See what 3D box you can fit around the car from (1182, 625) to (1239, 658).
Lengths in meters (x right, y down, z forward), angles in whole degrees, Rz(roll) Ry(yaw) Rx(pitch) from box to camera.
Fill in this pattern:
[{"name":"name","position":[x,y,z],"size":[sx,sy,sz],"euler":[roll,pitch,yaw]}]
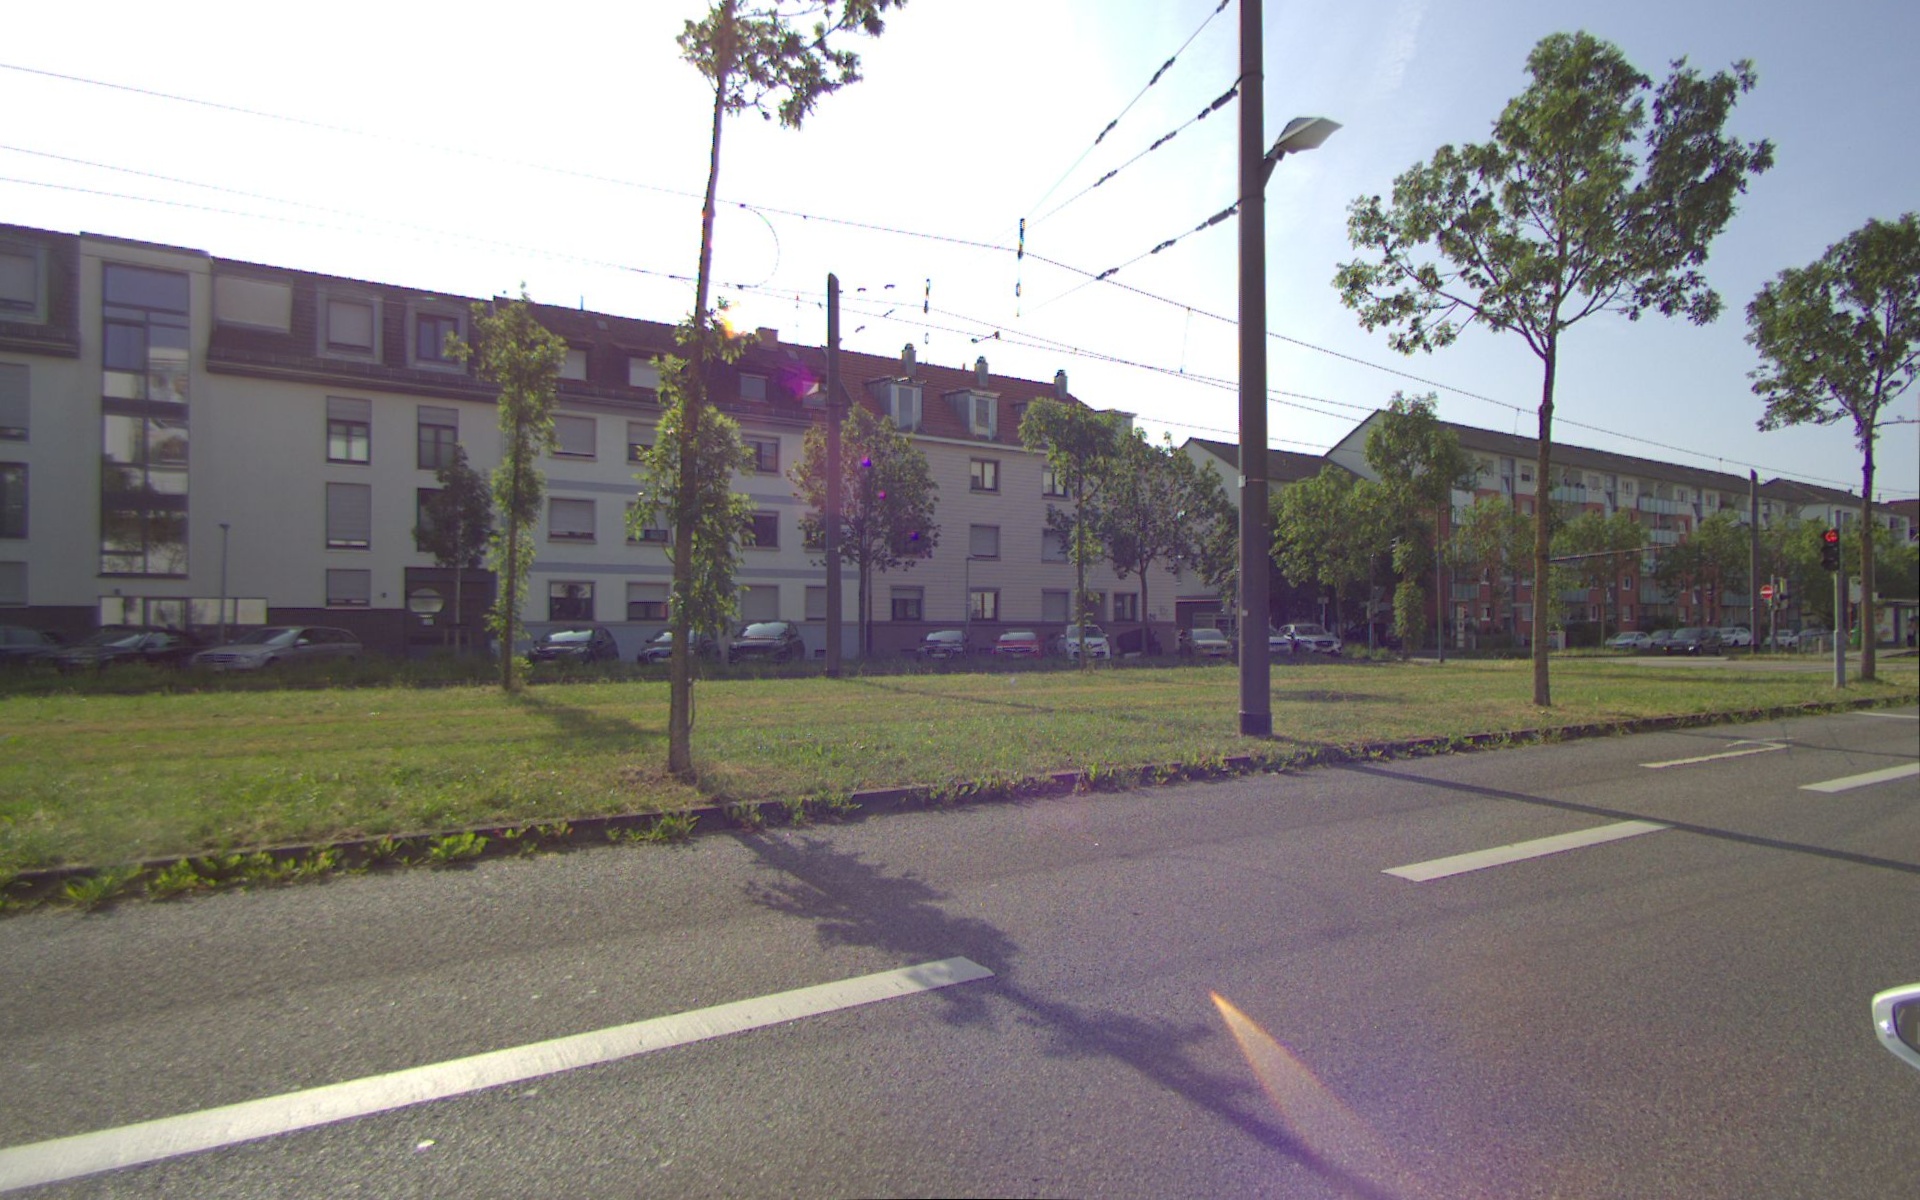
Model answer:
[{"name":"car","position":[10.491,1.698,42.265],"size":[1.959,1.194,4.002],"euler":[1,0,9]}]

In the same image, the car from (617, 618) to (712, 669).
[{"name":"car","position":[-8.627,1.241,29.689],"size":[1.962,1.305,3.996],"euler":[1,0,-6]}]

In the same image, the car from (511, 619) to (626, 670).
[{"name":"car","position":[-10.794,1.206,28.019],"size":[1.962,1.305,3.997],"euler":[1,-1,-6]}]

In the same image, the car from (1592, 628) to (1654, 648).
[{"name":"car","position":[42.725,2.424,64.710],"size":[4.120,1.163,1.823],"euler":[1,0,-33]}]

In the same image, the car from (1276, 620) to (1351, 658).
[{"name":"car","position":[15.804,1.708,45.113],"size":[1.924,1.483,4.354],"euler":[1,0,2]}]

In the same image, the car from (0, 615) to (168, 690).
[{"name":"car","position":[-19.773,1.085,21.988],"size":[1.890,1.394,3.997],"euler":[1,0,-4]}]

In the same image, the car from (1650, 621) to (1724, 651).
[{"name":"car","position":[43.607,2.143,60.198],"size":[4.659,1.728,1.983],"euler":[1,-1,-31]}]

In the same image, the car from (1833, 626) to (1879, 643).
[{"name":"car","position":[76.635,2.948,85.902],"size":[4.025,1.378,1.969],"euler":[1,0,-33]}]

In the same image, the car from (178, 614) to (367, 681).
[{"name":"car","position":[-16.742,1.110,24.768],"size":[1.962,1.394,4.336],"euler":[1,0,-6]}]

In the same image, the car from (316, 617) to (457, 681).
[{"name":"car","position":[-14.203,1.164,25.107],"size":[1.633,1.394,3.777],"euler":[1,0,-6]}]

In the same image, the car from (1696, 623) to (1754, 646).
[{"name":"car","position":[55.846,2.509,73.333],"size":[4.488,1.577,1.969],"euler":[1,0,-33]}]

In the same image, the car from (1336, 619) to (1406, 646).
[{"name":"car","position":[27.364,2.169,66.949],"size":[1.977,1.717,3.967],"euler":[1,-1,-31]}]

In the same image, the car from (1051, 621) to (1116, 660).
[{"name":"car","position":[4.613,1.485,38.125],"size":[1.850,1.286,3.999],"euler":[1,0,-2]}]

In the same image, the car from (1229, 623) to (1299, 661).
[{"name":"car","position":[12.910,1.742,42.947],"size":[1.960,1.534,4.467],"euler":[0,-1,5]}]

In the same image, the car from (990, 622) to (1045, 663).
[{"name":"car","position":[2.044,1.501,36.512],"size":[1.838,1.275,4.000],"euler":[1,0,1]}]

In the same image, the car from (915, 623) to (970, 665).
[{"name":"car","position":[-0.558,1.484,34.684],"size":[1.665,1.251,4.001],"euler":[1,0,2]}]

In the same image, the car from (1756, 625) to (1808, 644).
[{"name":"car","position":[64.188,2.685,78.418],"size":[4.025,1.378,1.969],"euler":[1,0,-33]}]

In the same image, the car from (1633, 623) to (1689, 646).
[{"name":"car","position":[47.495,2.332,68.011],"size":[3.785,1.490,1.823],"euler":[1,0,-33]}]

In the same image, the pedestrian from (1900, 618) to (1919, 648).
[{"name":"pedestrian","position":[52.824,1.848,55.871],"size":[0.787,1.675,0.667],"euler":[1,-1,-36]}]

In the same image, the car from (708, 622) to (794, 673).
[{"name":"car","position":[-6.213,1.396,30.286],"size":[1.962,1.305,4.057],"euler":[1,0,-4]}]

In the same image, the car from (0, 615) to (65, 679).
[{"name":"car","position":[-21.983,1.022,21.759],"size":[1.801,1.394,3.998],"euler":[1,-1,-4]}]
